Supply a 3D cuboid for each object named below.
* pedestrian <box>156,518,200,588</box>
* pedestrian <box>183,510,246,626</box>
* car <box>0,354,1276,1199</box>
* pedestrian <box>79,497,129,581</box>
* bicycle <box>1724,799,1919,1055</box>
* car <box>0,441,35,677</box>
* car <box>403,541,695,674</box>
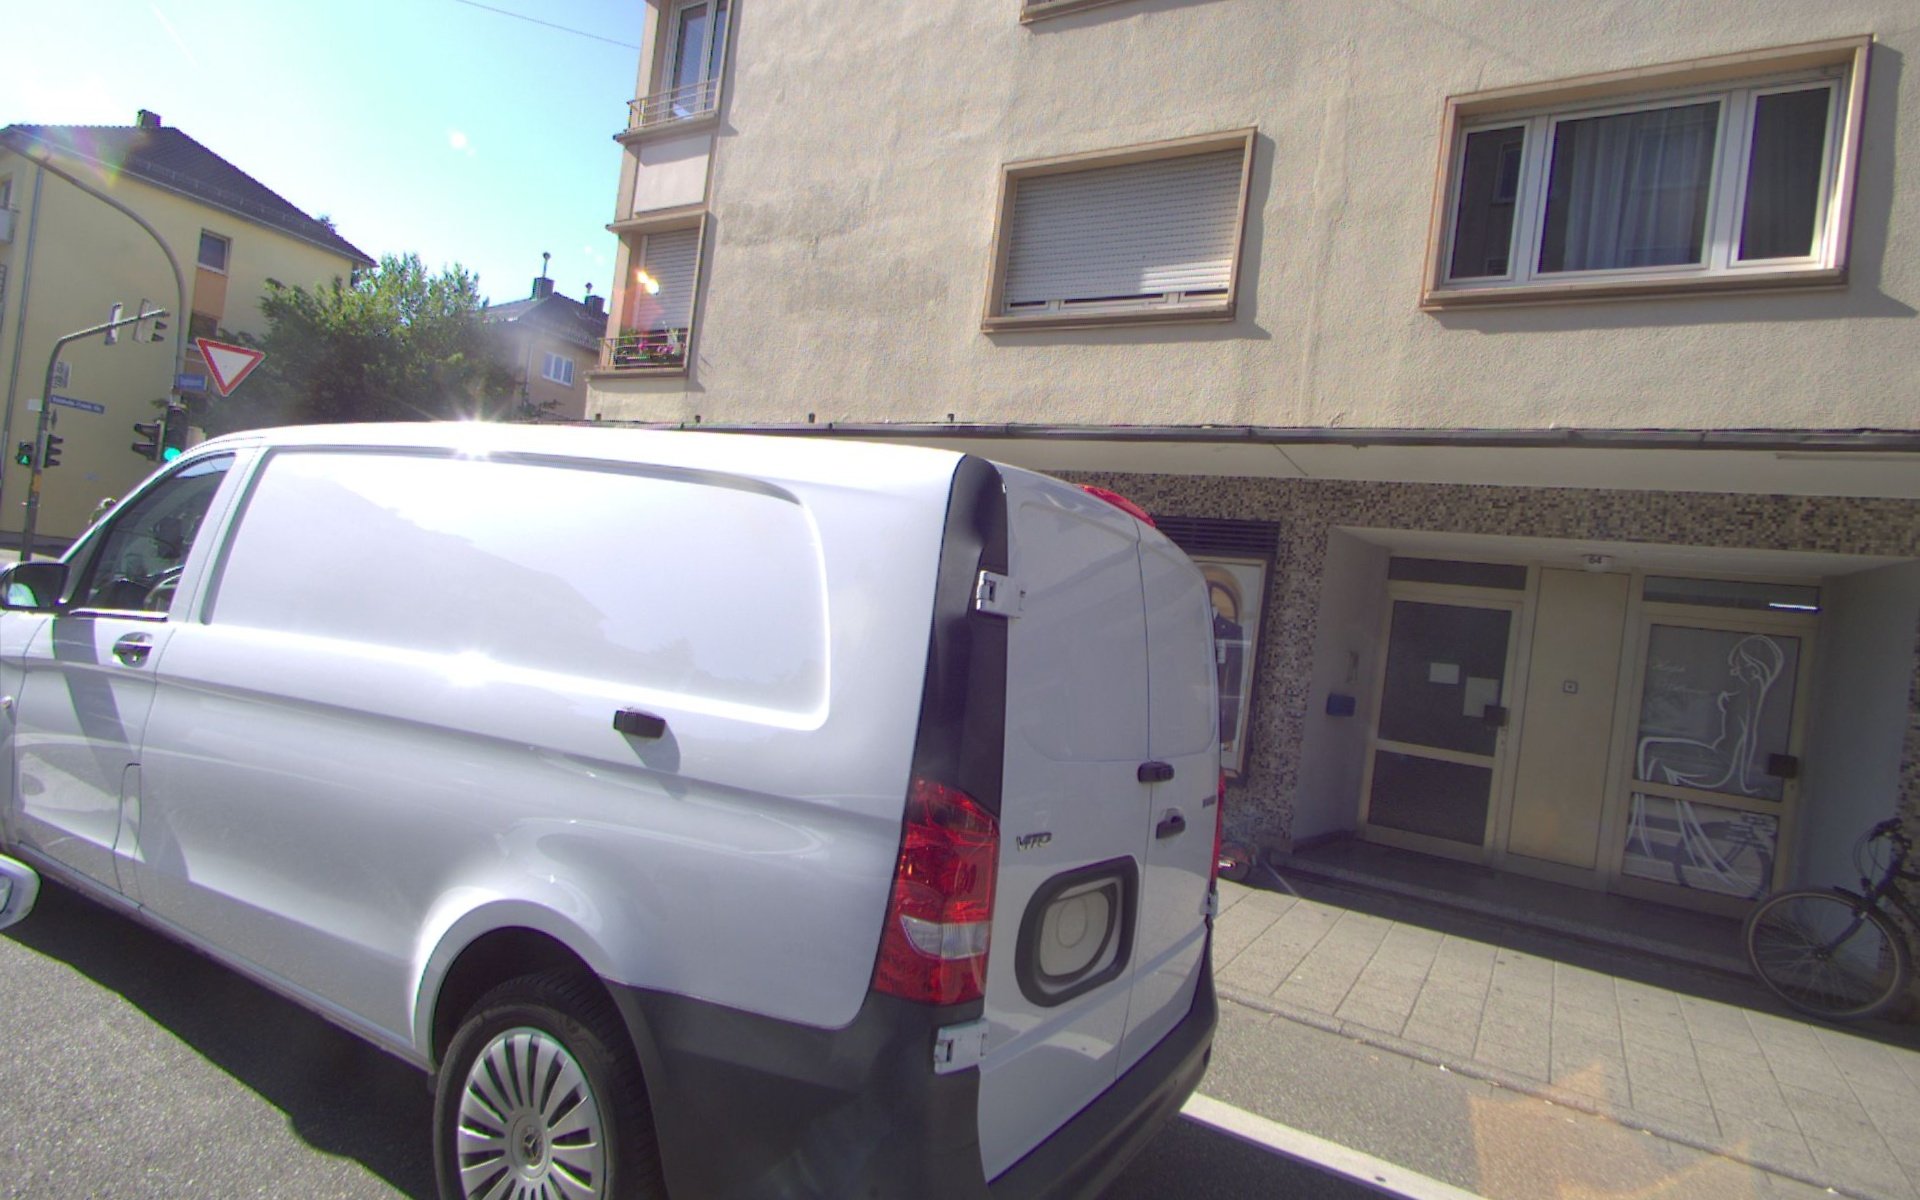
[{"bbox_3d":[-18.860,-1.127,24.263,0.530,1.590,0.540,7,0,32],"label":"pedestrian"},{"bbox_3d":[-12.519,-0.534,16.894,0.620,1.844,0.602,7,0,45],"label":"pedestrian"},{"bbox_3d":[-1.611,0.400,3.583,4.751,1.832,1.972,6,-1,31],"label":"car"},{"bbox_3d":[-19.180,-1.371,22.537,0.612,1.783,0.526,7,0,30],"label":"pedestrian"},{"bbox_3d":[5.097,1.770,5.149,1.772,1.099,0.406,7,2,37],"label":"bicycle"},{"bbox_3d":[-10.584,-0.666,8.991,4.972,1.962,1.973,6,-3,32],"label":"car"},{"bbox_3d":[-6.547,0.202,16.460,1.795,1.682,3.993,7,-1,32],"label":"car"}]
